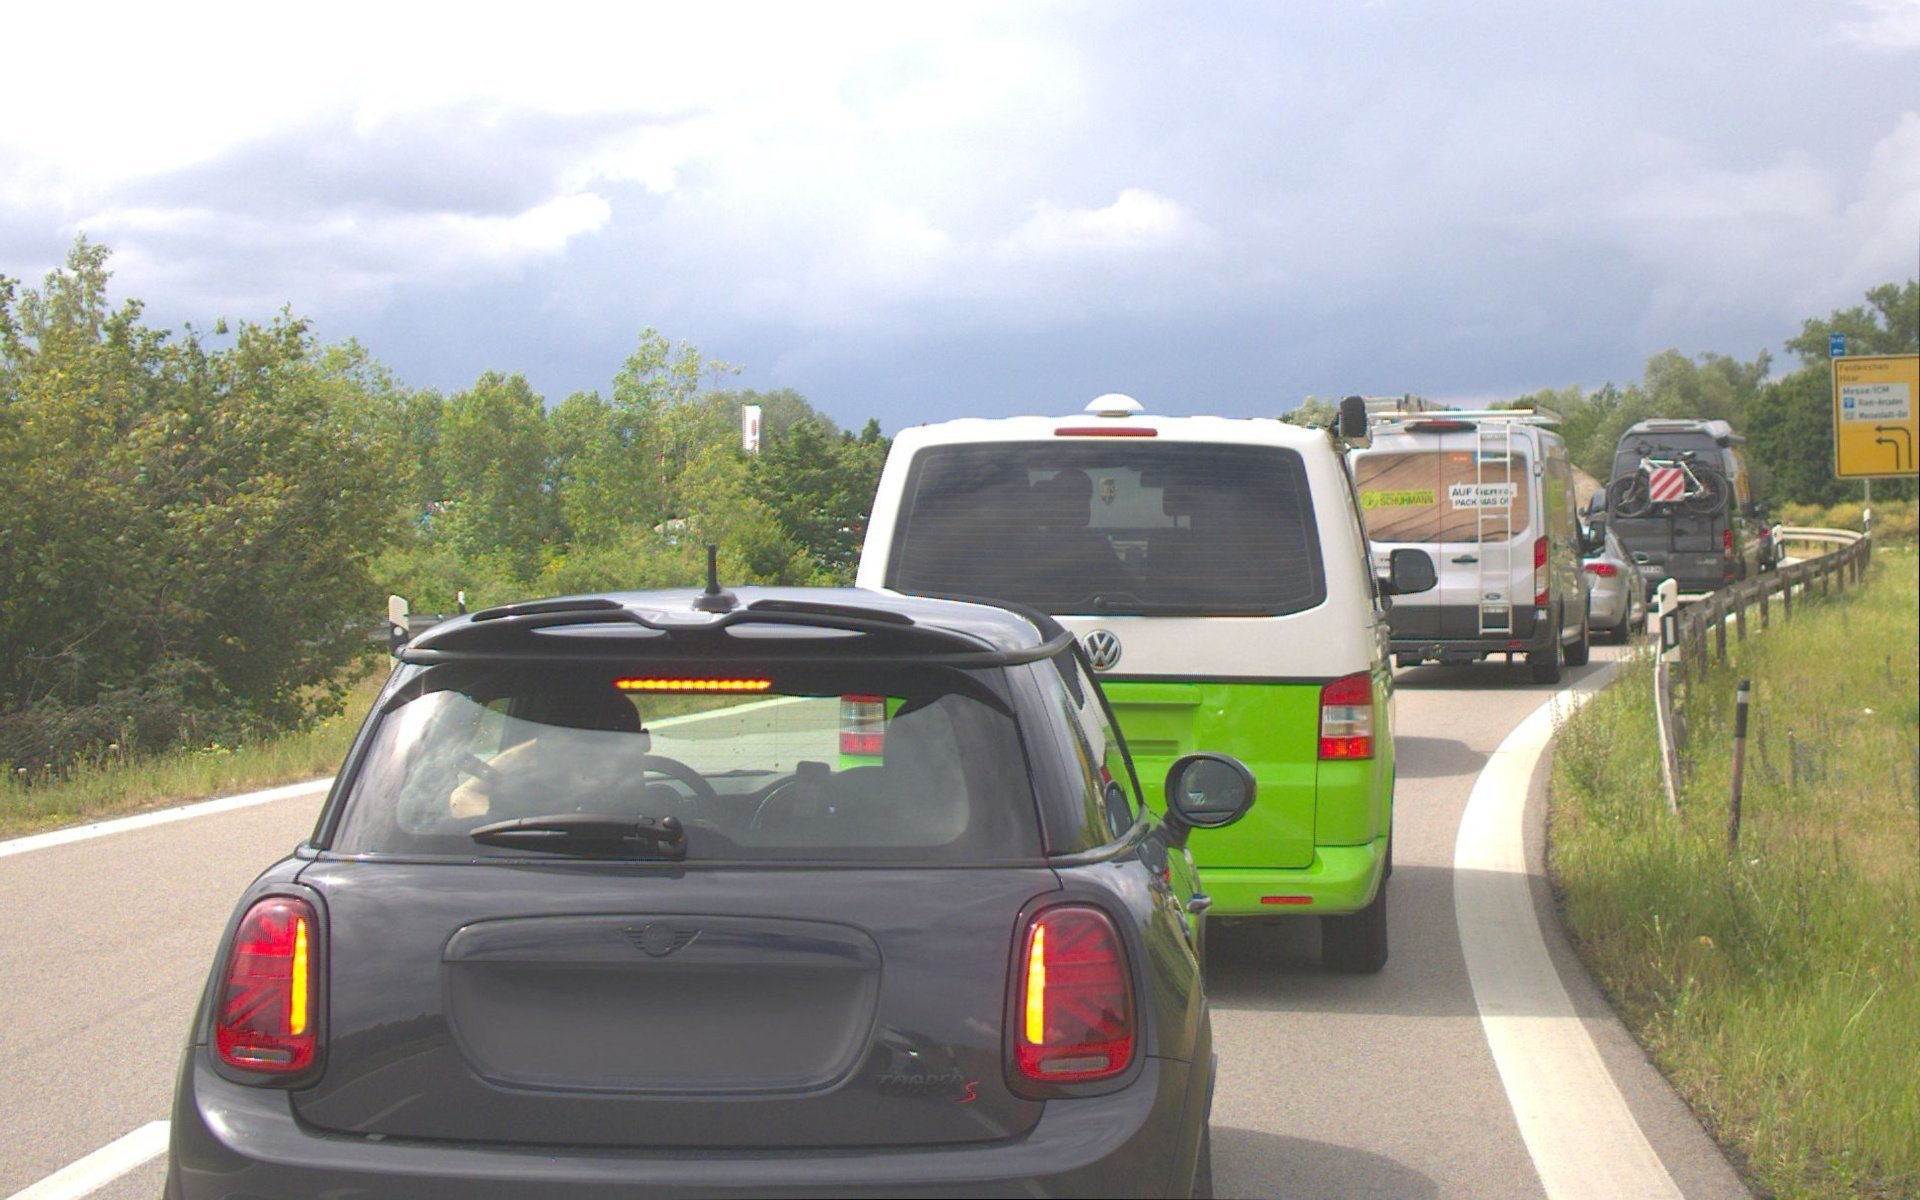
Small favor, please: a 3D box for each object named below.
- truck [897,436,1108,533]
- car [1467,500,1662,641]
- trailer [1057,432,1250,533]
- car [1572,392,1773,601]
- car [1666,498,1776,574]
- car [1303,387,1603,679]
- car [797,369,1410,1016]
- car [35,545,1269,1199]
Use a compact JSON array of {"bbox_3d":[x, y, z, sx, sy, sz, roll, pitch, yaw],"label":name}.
[{"bbox_3d":[1.716,-4.880,146.784,2.837,3.962,10.025,0,1,-43],"label":"truck"},{"bbox_3d":[7.487,-0.363,42.324,1.995,1.636,3.926,1,1,15],"label":"car"},{"bbox_3d":[7.778,-4.696,139.422,3.036,3.884,8.772,0,1,-35],"label":"trailer"},{"bbox_3d":[11.285,-1.558,54.058,2.313,3.058,6.656,1,1,18],"label":"car"},{"bbox_3d":[16.698,-1.383,75.277,1.895,1.583,4.491,1,1,18],"label":"car"},{"bbox_3d":[4.951,-0.634,33.794,2.213,2.613,5.530,1,1,15],"label":"car"},{"bbox_3d":[0.715,0.256,13.033,1.911,2.038,4.180,0,1,8],"label":"car"},{"bbox_3d":[-0.344,0.675,6.854,1.800,1.541,3.738,0,1,4],"label":"car"}]
